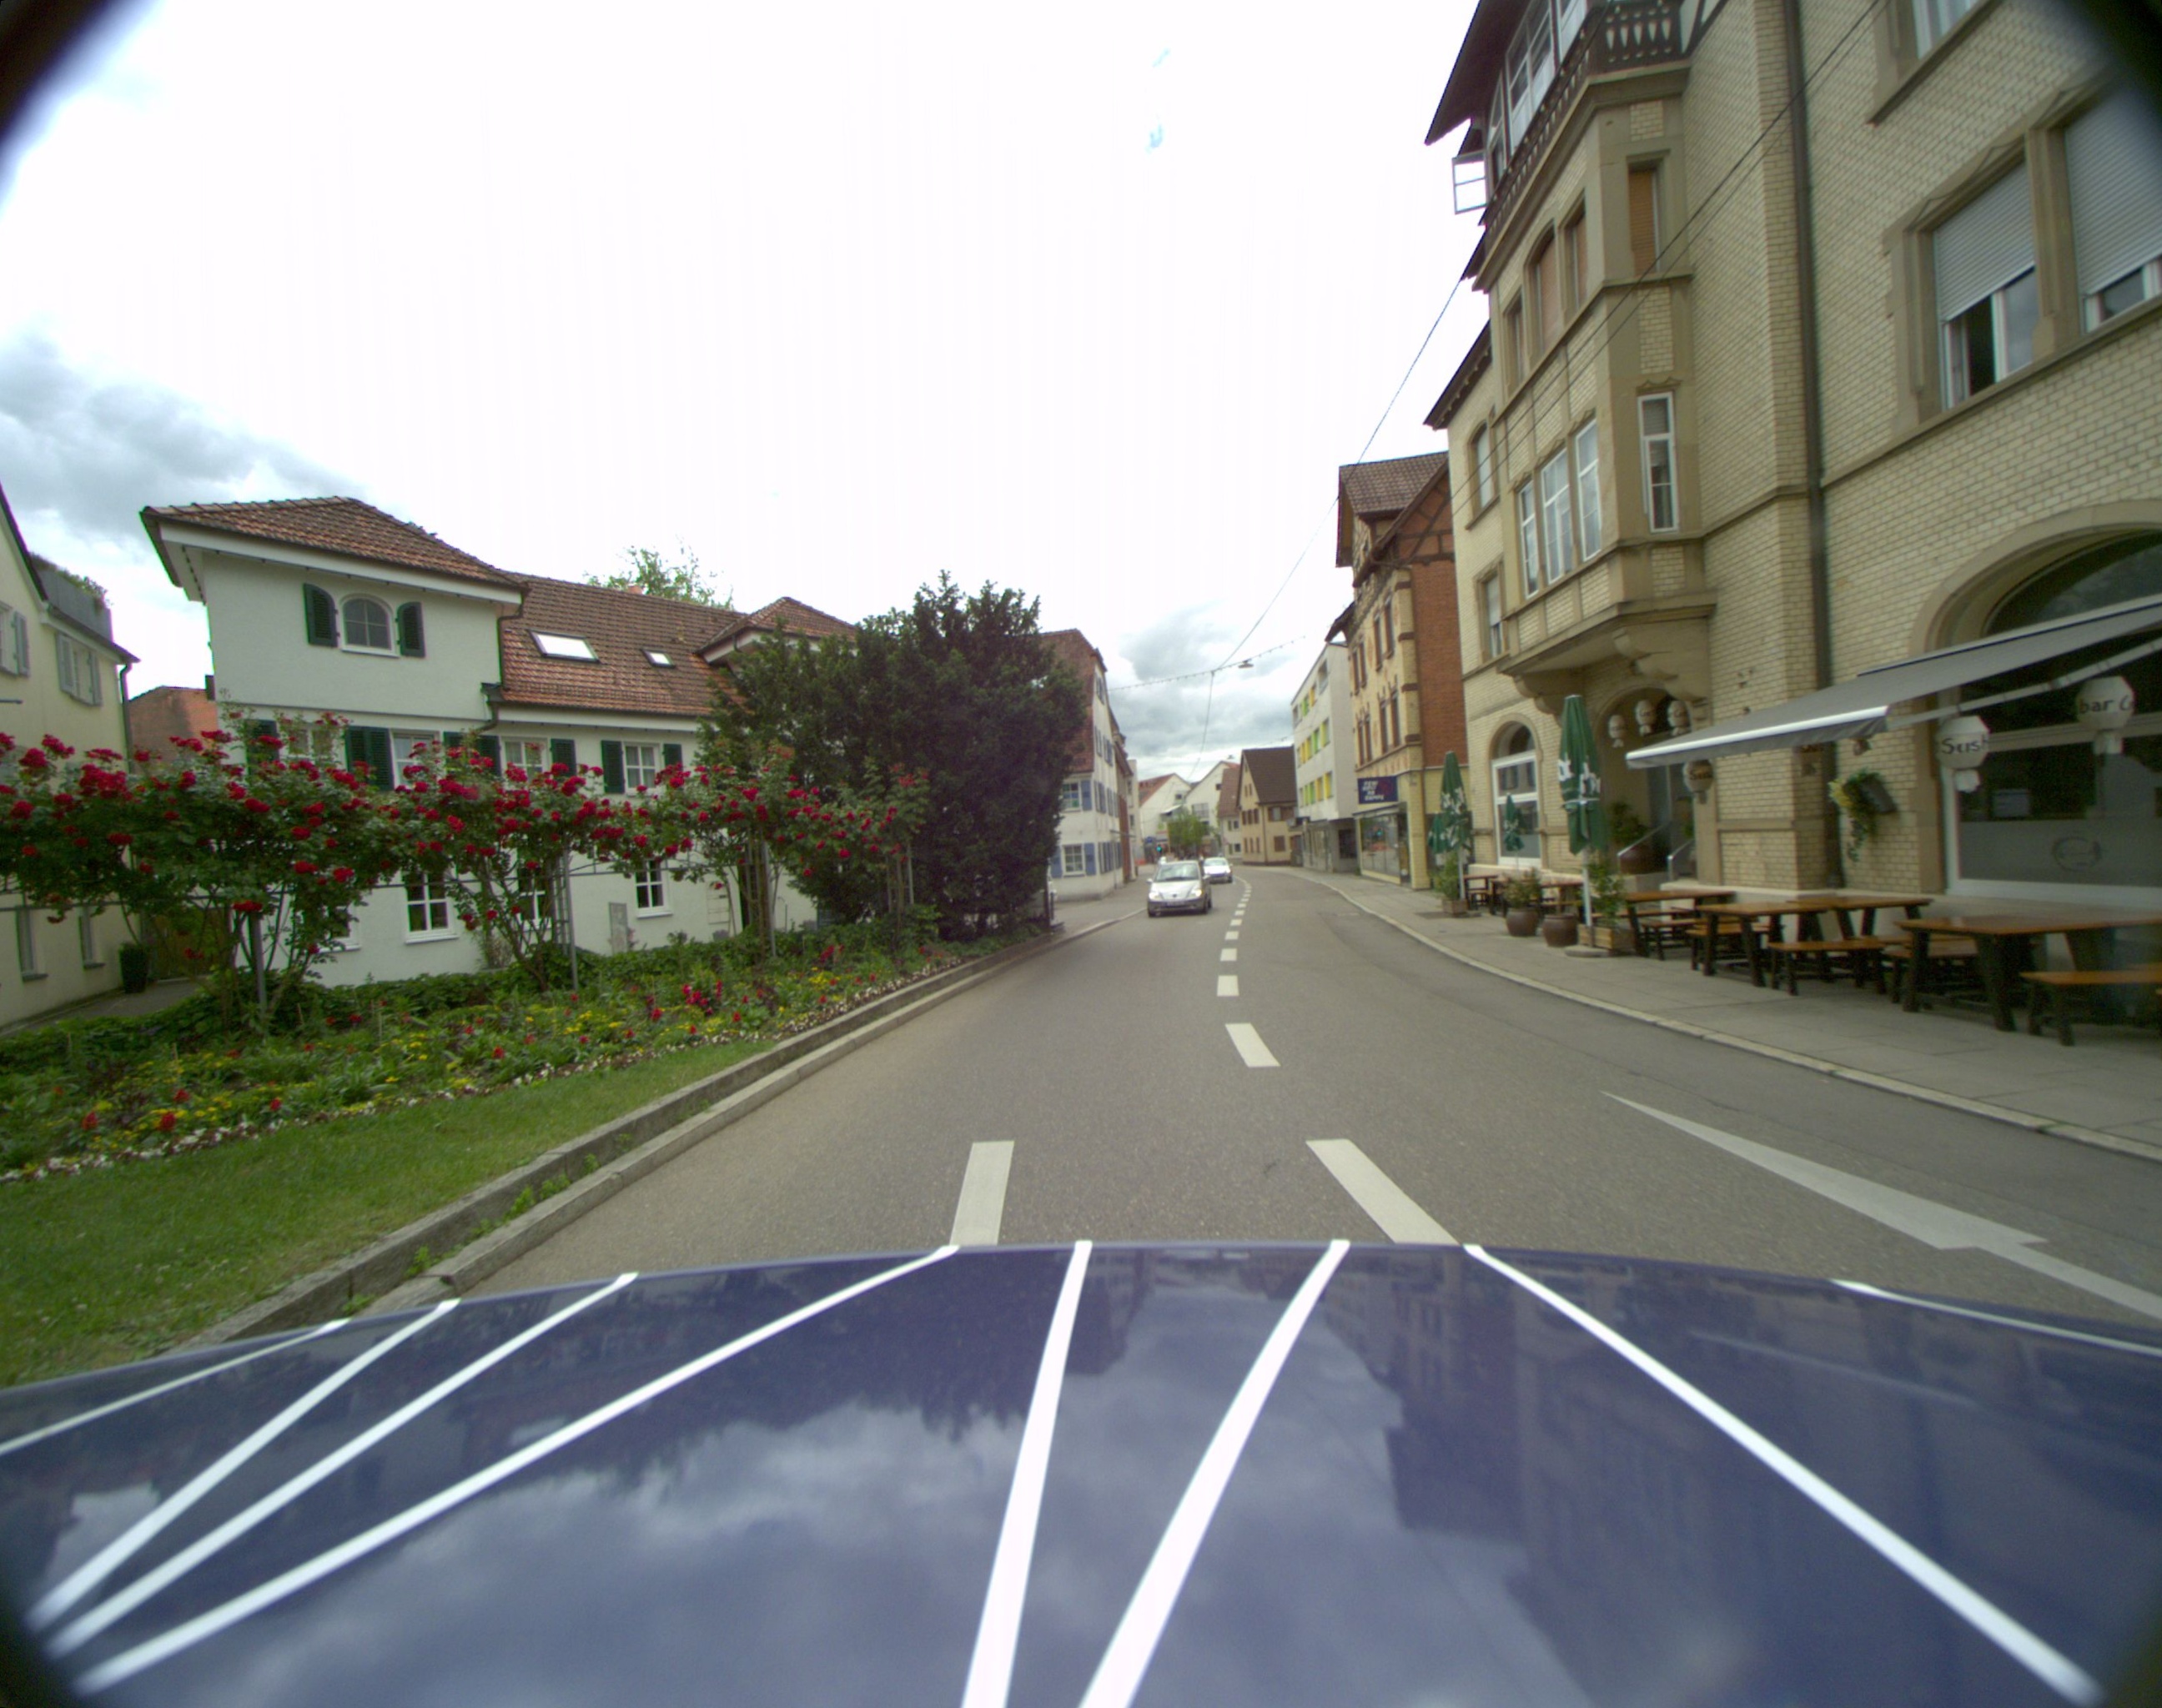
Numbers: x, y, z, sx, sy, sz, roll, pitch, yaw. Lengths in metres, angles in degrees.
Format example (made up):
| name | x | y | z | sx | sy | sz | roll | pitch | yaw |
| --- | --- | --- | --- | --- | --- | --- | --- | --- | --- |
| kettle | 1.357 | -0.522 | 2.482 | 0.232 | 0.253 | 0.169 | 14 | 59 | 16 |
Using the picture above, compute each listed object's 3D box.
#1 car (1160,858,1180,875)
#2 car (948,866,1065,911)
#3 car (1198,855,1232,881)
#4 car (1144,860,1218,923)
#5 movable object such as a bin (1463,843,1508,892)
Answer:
| name | x | y | z | sx | sy | sz | roll | pitch | yaw |
| --- | --- | --- | --- | --- | --- | --- | --- | --- | --- |
| car | 9.999 | 1.333 | 85.289 | 2.000 | 1.618 | 4.001 | -5 | 1 | 6 |
| car | -2.766 | 1.287 | 28.410 | 3.797 | 1.410 | 1.900 | -4 | 0 | 19 |
| car | 7.693 | 0.775 | 43.711 | 1.754 | 1.347 | 4.003 | -4 | -1 | 10 |
| car | 3.146 | 1.079 | 23.240 | 1.893 | 1.617 | 4.003 | -3 | 0 | 11 |
| movable object such as a bin | 12.519 | 0.413 | 23.556 | 0.943 | 1.371 | 0.823 | -6 | 3 | 13 |
